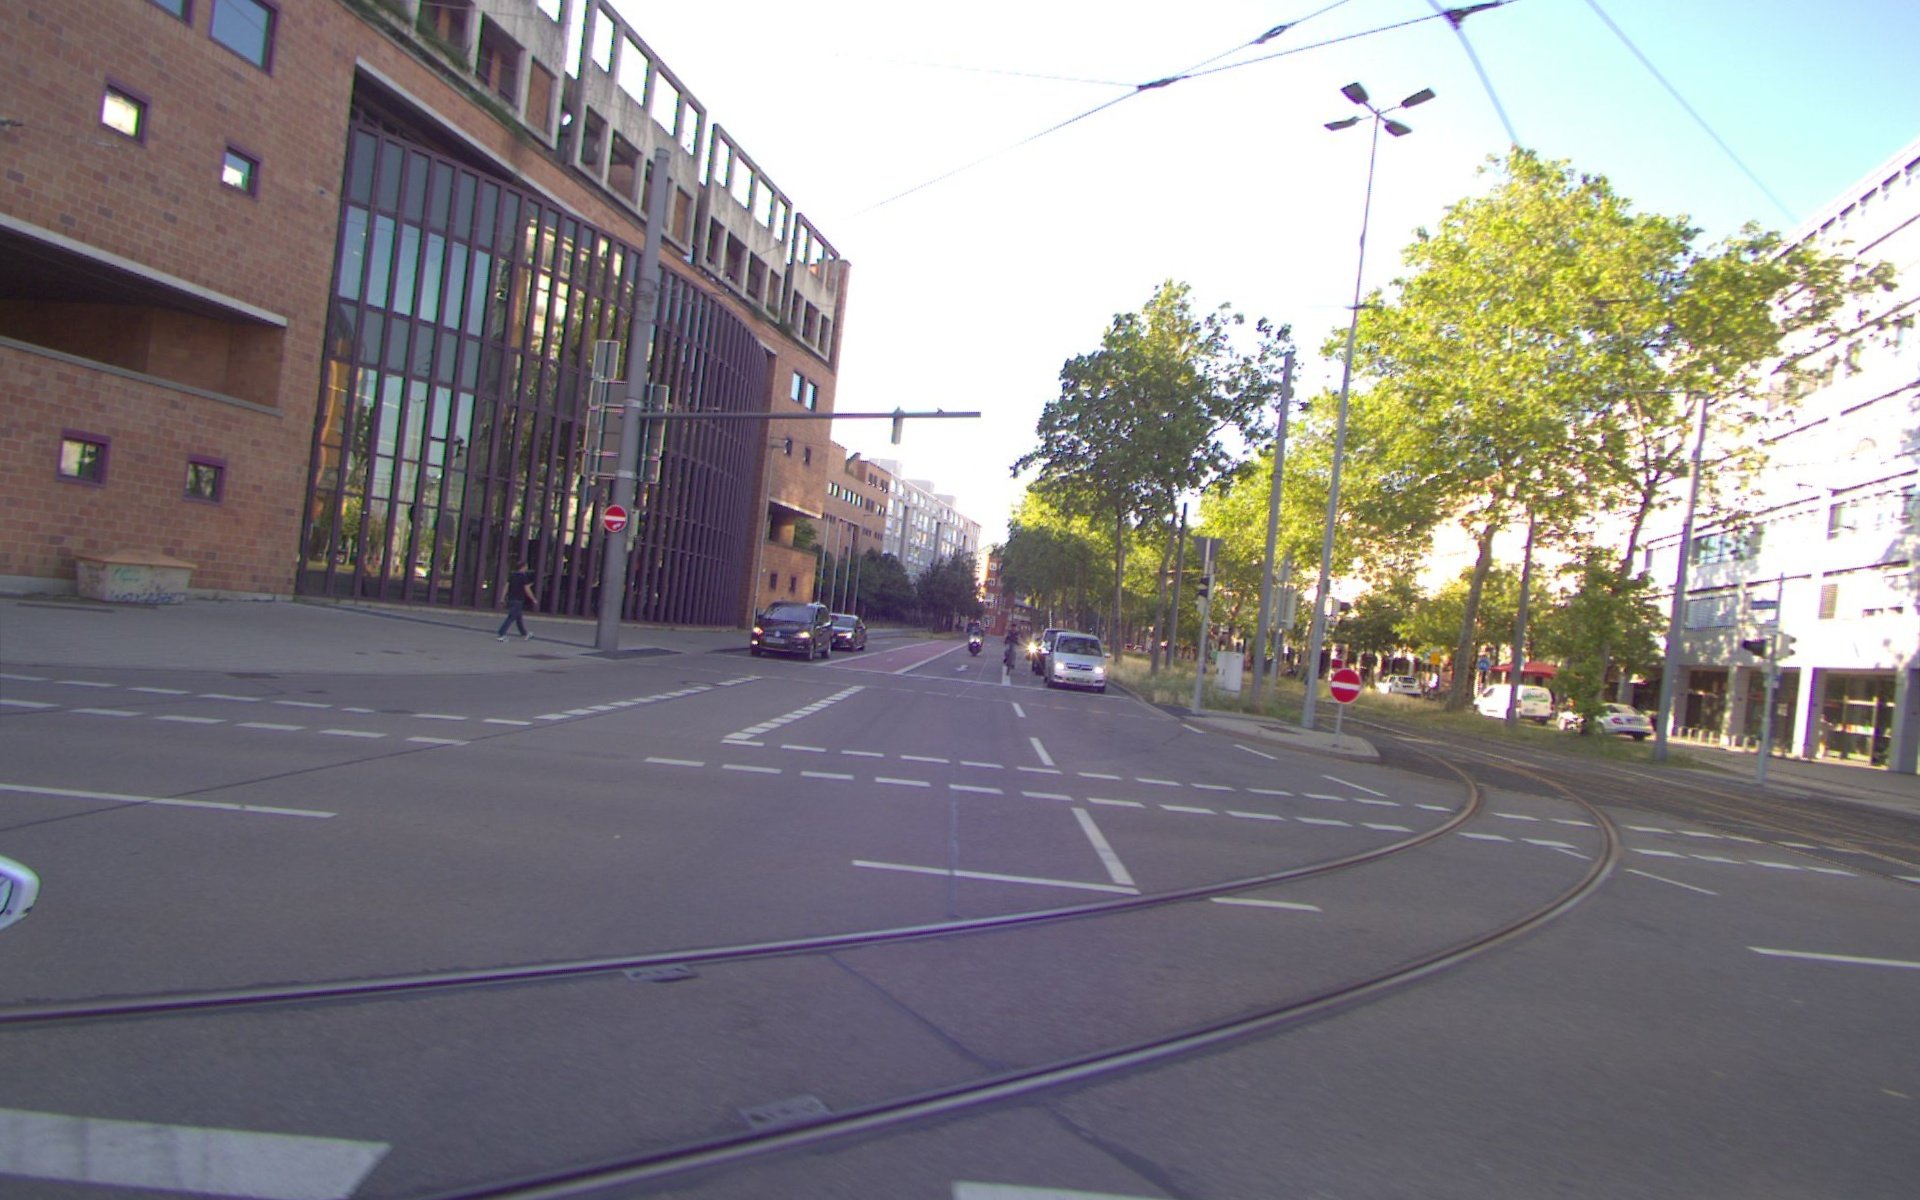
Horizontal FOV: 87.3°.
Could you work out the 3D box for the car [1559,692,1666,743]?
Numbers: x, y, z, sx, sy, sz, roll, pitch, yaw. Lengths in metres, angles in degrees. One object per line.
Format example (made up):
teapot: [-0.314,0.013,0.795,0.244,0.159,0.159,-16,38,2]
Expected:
car: [27.339,4.880,42.330,1.824,1.570,4.328,6,-1,4]

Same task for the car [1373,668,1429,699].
car: [28.232,5.322,64.606,1.824,1.570,4.328,6,-1,4]

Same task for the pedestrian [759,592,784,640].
pedestrian: [-8.551,0.726,45.653,0.884,2.038,0.757,6,0,-9]

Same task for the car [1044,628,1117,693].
car: [3.497,1.722,29.767,1.703,1.616,4.328,6,-1,3]

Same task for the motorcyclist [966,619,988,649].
motorcyclist: [0.845,1.692,49.866,0.806,1.369,0.749,7,0,10]

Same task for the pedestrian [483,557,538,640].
pedestrian: [-9.946,-0.030,22.266,0.810,1.737,0.663,6,0,-9]

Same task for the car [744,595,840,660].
car: [-4.997,0.843,30.595,1.804,1.674,4.503,5,-1,3]

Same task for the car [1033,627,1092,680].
car: [3.723,1.916,37.124,1.824,1.670,4.328,6,-1,3]

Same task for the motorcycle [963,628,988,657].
motorcycle: [0.774,2.105,49.904,0.836,1.274,2.033,7,-1,10]

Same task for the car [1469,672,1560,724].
car: [27.121,4.767,49.376,1.962,2.038,4.387,6,-1,2]

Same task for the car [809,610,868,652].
car: [-4.817,1.233,40.321,1.887,1.392,4.000,6,-1,-2]

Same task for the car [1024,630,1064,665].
car: [4.345,2.448,52.768,1.824,1.570,4.328,6,-1,3]
